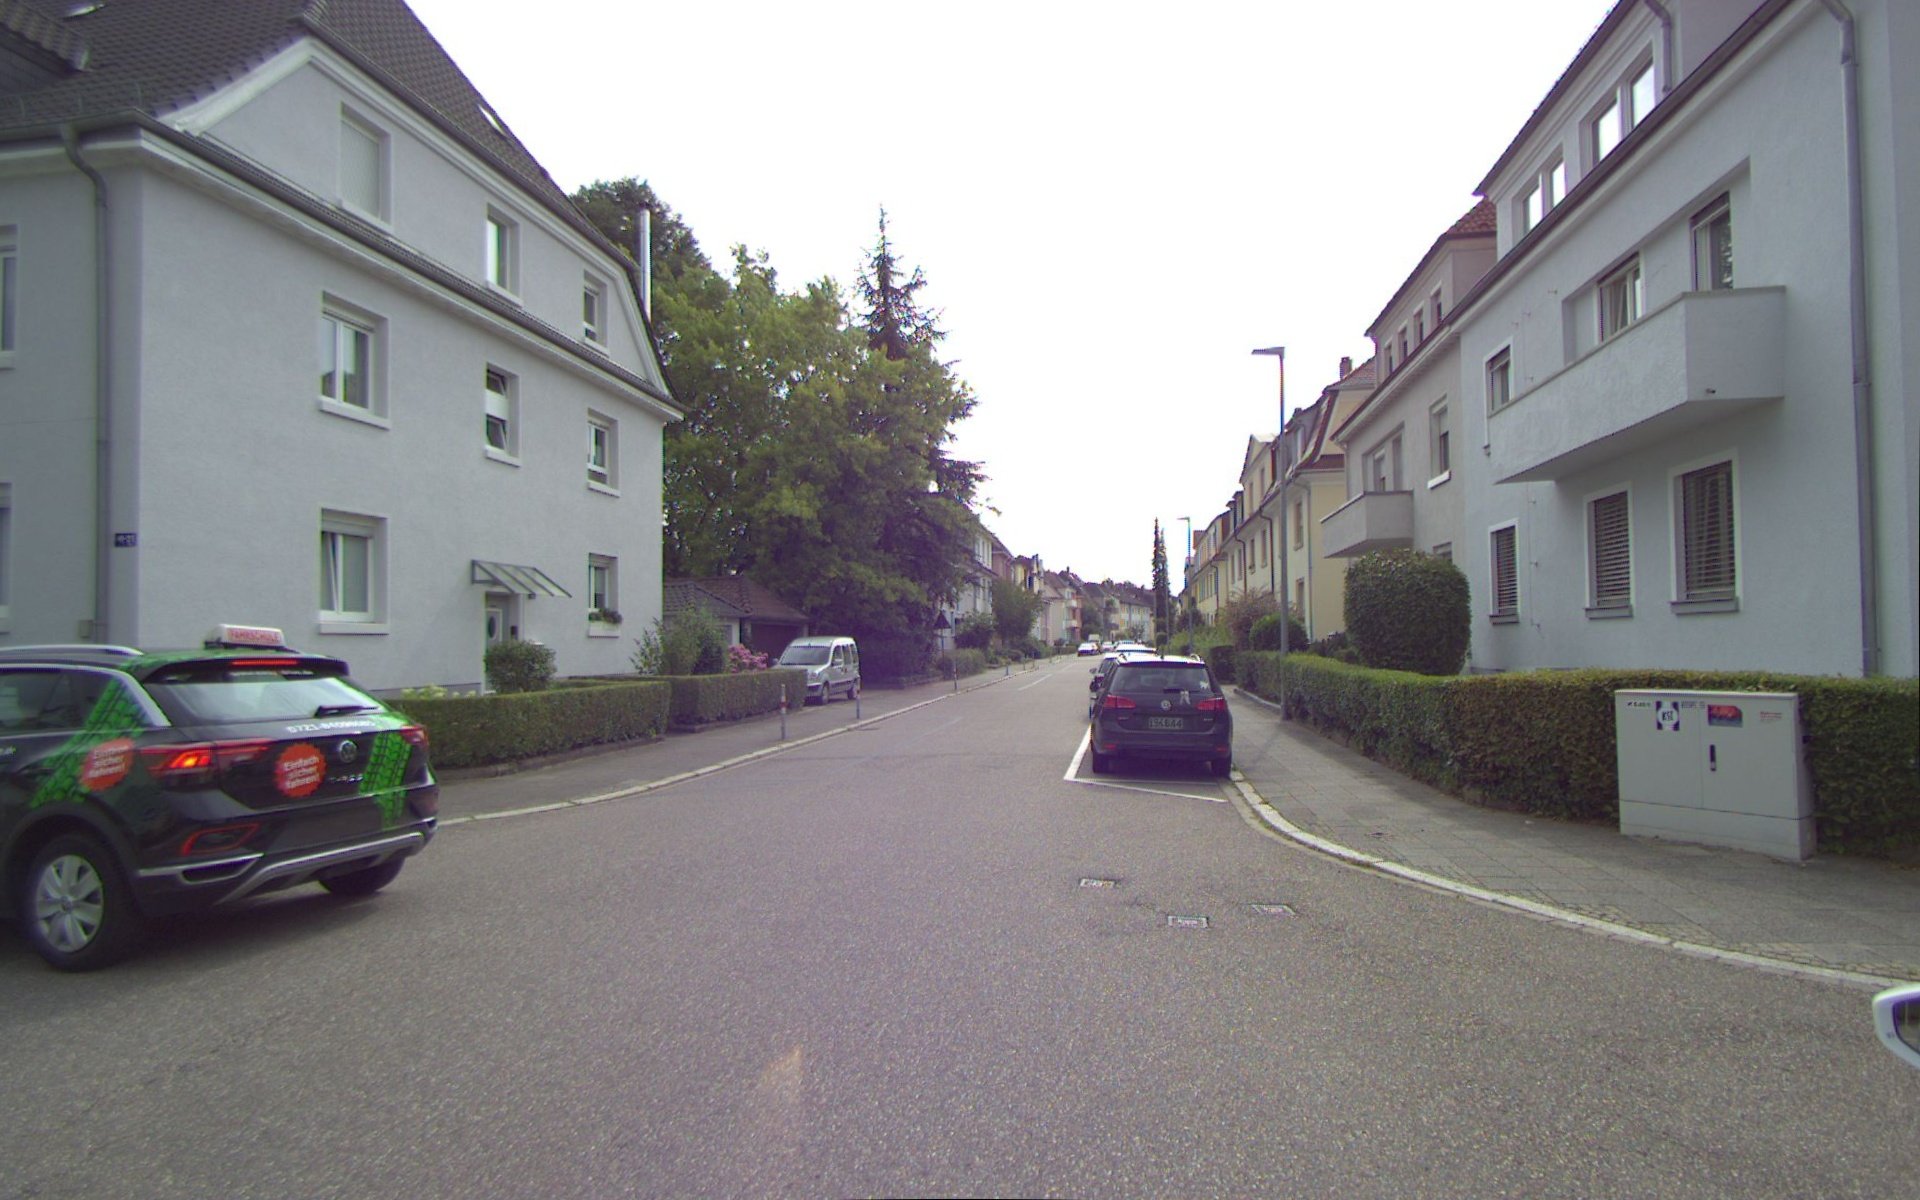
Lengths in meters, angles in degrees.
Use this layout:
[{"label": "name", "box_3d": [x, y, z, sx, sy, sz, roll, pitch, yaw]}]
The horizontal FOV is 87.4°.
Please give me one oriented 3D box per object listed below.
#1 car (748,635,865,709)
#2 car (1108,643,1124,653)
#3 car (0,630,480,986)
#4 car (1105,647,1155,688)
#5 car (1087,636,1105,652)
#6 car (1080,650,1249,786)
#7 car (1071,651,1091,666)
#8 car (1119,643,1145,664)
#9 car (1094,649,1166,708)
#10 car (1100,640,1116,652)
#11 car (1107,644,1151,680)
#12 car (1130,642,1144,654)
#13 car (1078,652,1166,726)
[{"label": "car", "box_3d": [-4.133, 1.929, 27.692, 1.959, 1.862, 4.003, -1, -2, 11]}, {"label": "car", "box_3d": [24.994, 7.653, 160.654, 1.961, 1.556, 4.001, -3, -3, 18]}, {"label": "car", "box_3d": [-5.074, 1.029, 5.733, 3.962, 1.539, 1.823, -2, -3, 14]}, {"label": "car", "box_3d": [6.773, 2.636, 39.759, 1.822, 1.491, 4.179, -1, -2, 11]}, {"label": "car", "box_3d": [17.676, 5.734, 130.426, 1.959, 2.040, 4.003, -1, -2, 12]}, {"label": "car", "box_3d": [2.571, 1.453, 13.542, 1.822, 1.491, 4.178, -1, -2, 6]}, {"label": "car", "box_3d": [14.357, 6.893, 118.862, 1.960, 1.661, 4.003, -1, -2, 13]}, {"label": "car", "box_3d": [12.629, 3.918, 73.690, 1.822, 1.491, 4.179, -1, -2, 11]}, {"label": "car", "box_3d": [4.816, 2.157, 28.289, 1.822, 1.491, 4.179, -1, -2, 11]}, {"label": "car", "box_3d": [21.661, 6.695, 147.083, 1.960, 1.661, 4.003, -1, -2, 13]}, {"label": "car", "box_3d": [7.620, 2.744, 45.002, 1.822, 1.491, 4.179, -1, -2, 11]}, {"label": "car", "box_3d": [24.794, 6.673, 140.657, 1.822, 1.598, 4.179, -1, -2, 11]}, {"label": "car", "box_3d": [3.807, 1.984, 23.294, 1.822, 1.491, 4.179, -1, -2, 11]}]
